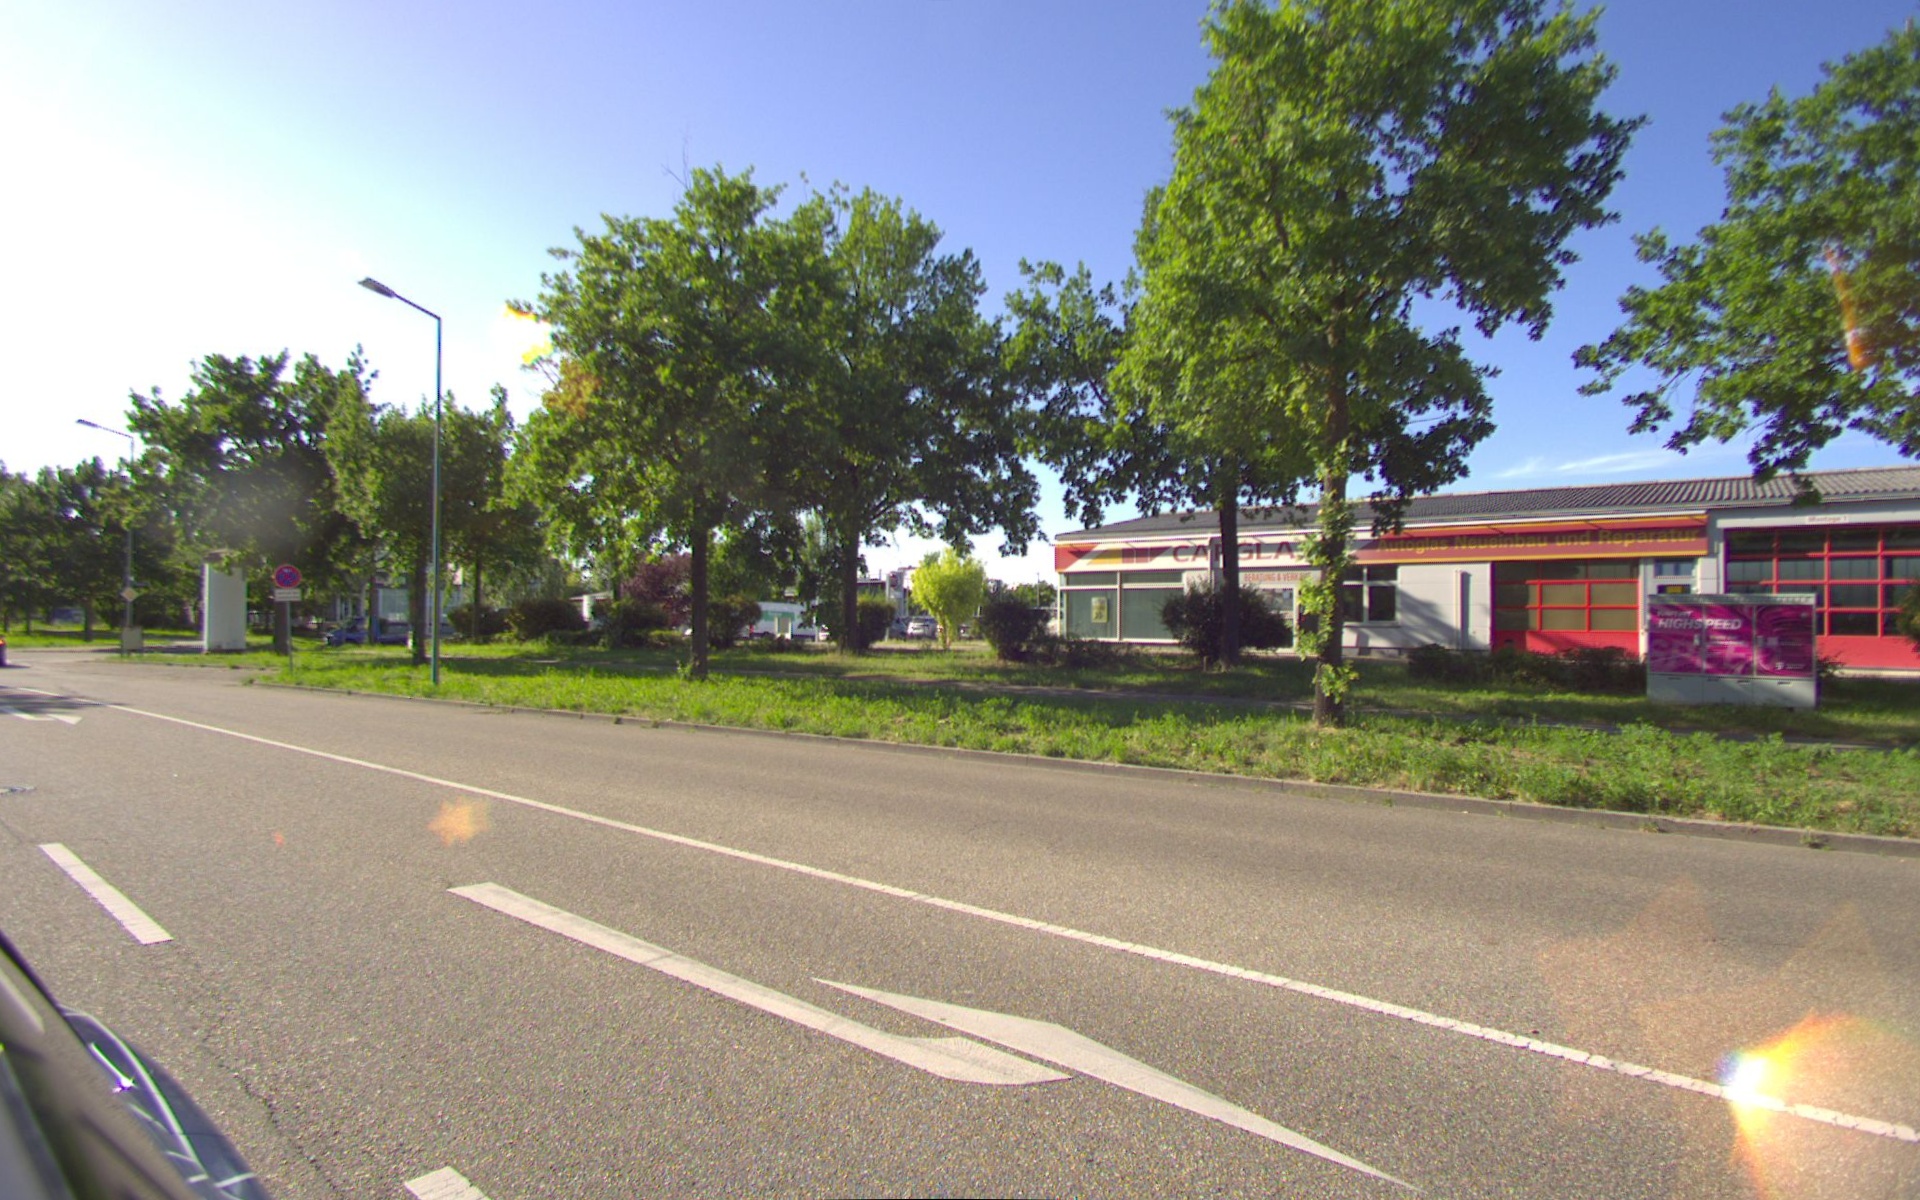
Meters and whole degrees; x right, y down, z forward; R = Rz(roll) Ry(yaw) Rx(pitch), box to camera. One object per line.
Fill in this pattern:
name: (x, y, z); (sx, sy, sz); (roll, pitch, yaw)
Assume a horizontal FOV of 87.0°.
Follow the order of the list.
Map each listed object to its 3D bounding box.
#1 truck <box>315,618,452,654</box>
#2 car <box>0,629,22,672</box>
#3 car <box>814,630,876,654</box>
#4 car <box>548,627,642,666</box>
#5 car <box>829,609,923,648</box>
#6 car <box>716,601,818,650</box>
truck: (-35.263, 2.215, 62.142); (2.138, 2.065, 7.043); (0, -2, 38)
car: (-33.729, 1.660, 34.290); (4.579, 1.414, 1.975); (-1, -5, 37)
car: (-6.605, 2.385, 58.464); (1.572, 1.312, 3.489); (-1, -1, 38)
car: (-26.630, 3.343, 73.988); (2.297, 2.535, 6.280); (0, 0, 37)
car: (-4.614, 1.563, 56.379); (2.297, 2.085, 5.359); (-1, -2, 37)
car: (-11.466, 1.453, 60.606); (2.297, 2.723, 6.102); (0, 0, 37)
